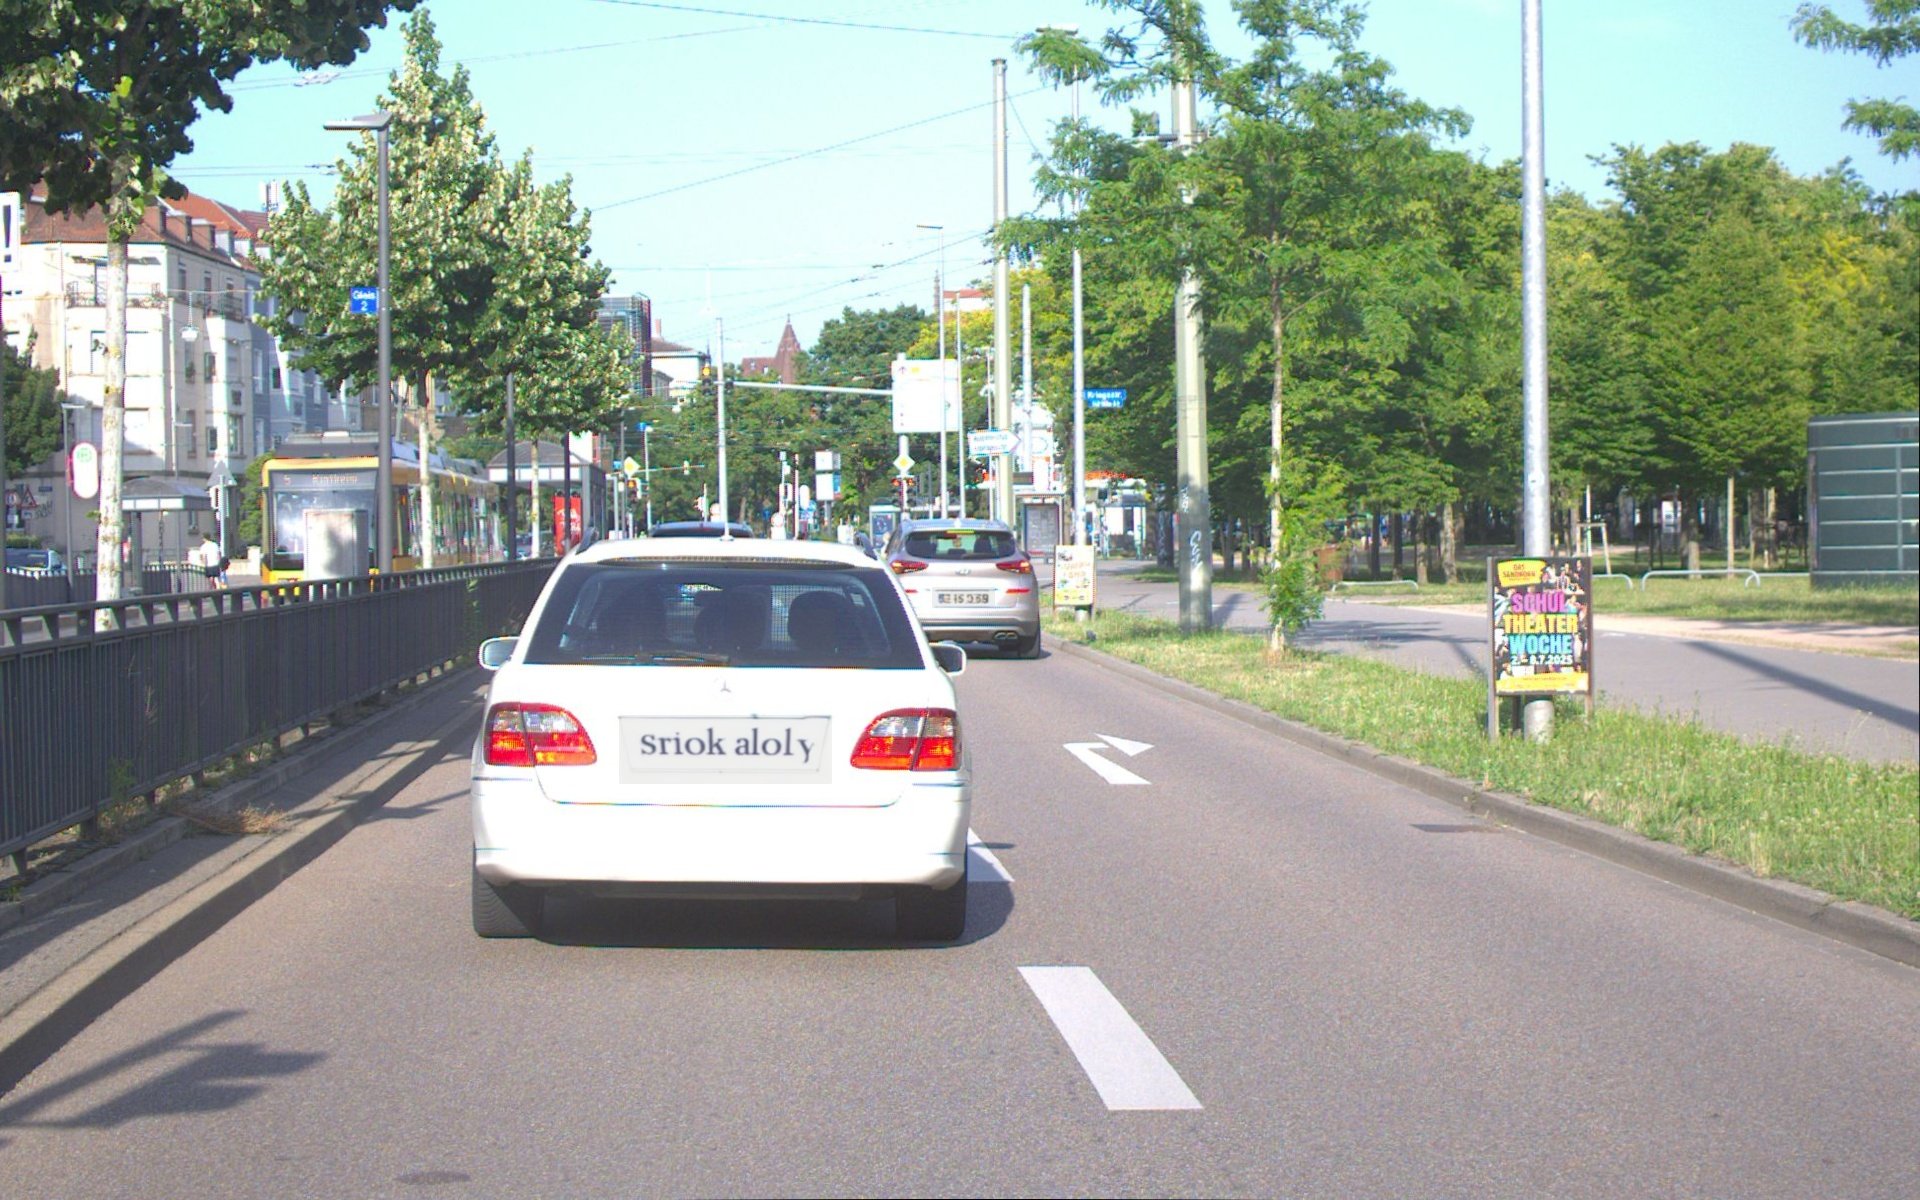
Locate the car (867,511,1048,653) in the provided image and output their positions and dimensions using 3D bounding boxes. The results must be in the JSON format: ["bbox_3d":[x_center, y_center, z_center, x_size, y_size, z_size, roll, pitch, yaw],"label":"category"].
[{"bbox_3d":[-0.016,-0.257,40.774,2.033,1.600,4.000,0,1,0],"label":"car"}]

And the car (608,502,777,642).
[{"bbox_3d":[-3.336,-0.390,43.529,1.787,1.684,4.000,0,1,1],"label":"car"}]

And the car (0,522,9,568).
[{"bbox_3d":[-35.370,-1.883,119.426,2.206,1.622,4.712,0,2,19],"label":"car"}]

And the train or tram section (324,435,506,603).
[{"bbox_3d":[-12.205,-1.855,78.112,2.849,3.467,13.202,0,1,-4],"label":"train or tram section"}]

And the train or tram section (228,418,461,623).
[{"bbox_3d":[-11.435,-1.536,65.128,2.849,3.467,13.202,0,2,-4],"label":"train or tram section"}]

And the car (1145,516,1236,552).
[{"bbox_3d":[11.167,-3.189,166.588,3.991,1.645,1.998,-1,1,22],"label":"car"}]

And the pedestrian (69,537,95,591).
[{"bbox_3d":[-28.866,-1.190,113.009,0.665,1.747,0.746,0,1,0],"label":"pedestrian"}]

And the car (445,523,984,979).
[{"bbox_3d":[-0.800,0.514,13.380,1.758,1.498,4.000,0,0,1],"label":"car"}]
